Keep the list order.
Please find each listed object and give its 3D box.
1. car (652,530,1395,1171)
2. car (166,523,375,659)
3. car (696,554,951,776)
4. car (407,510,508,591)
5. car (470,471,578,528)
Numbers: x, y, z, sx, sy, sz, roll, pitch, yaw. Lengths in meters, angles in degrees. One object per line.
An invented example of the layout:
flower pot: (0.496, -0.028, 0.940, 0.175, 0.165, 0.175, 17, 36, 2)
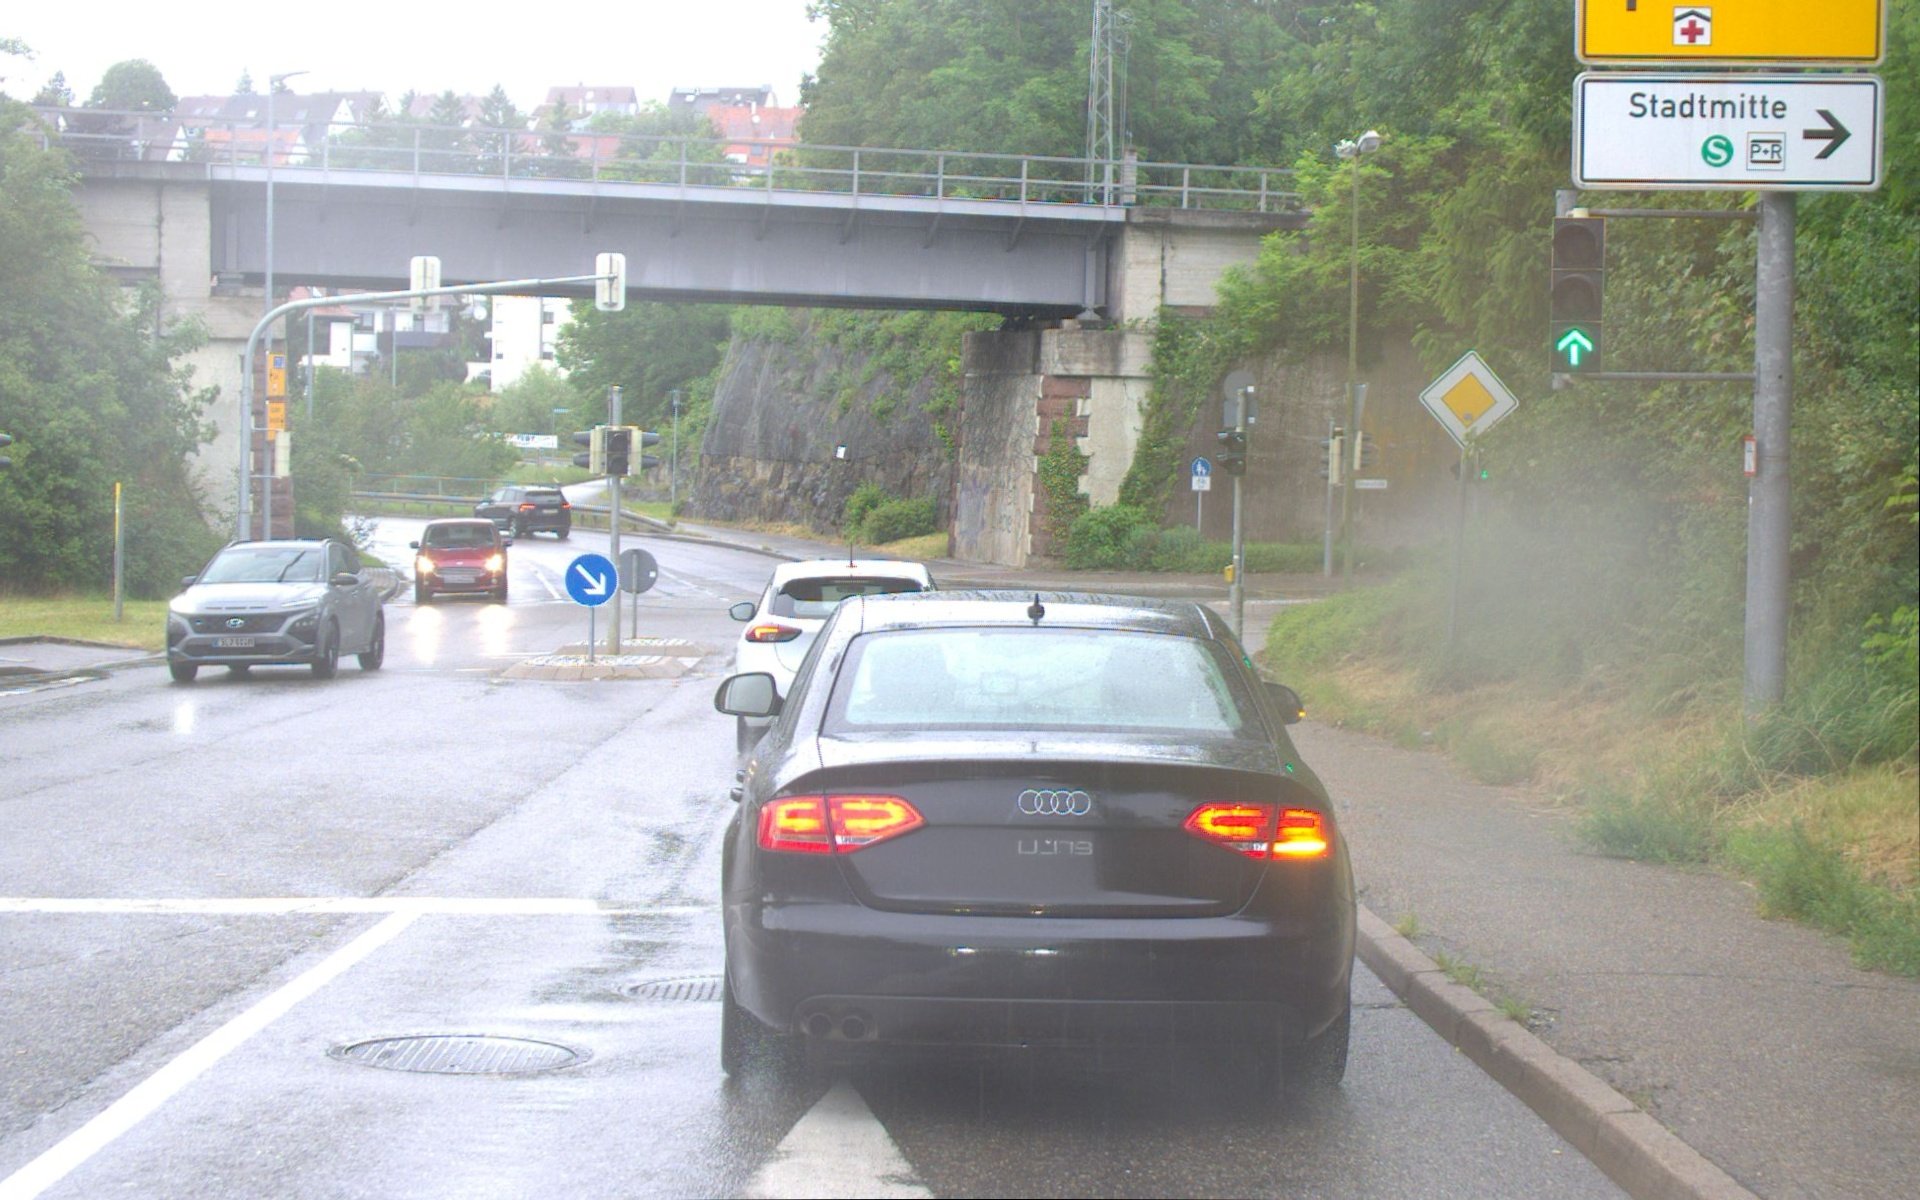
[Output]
car: (0.136, 0.641, 10.705, 1.870, 1.611, 4.000, 0, 0, -1)
car: (-7.791, -0.121, 39.157, 1.639, 1.465, 4.000, 0, 1, -1)
car: (-1.006, 0.471, 26.662, 1.823, 1.579, 4.000, 0, 0, -1)
car: (-10.427, -1.034, 71.528, 1.993, 1.622, 4.001, 0, 1, -7)
car: (-13.416, -3.112, 105.675, 1.993, 1.590, 4.001, -1, 4, -28)
